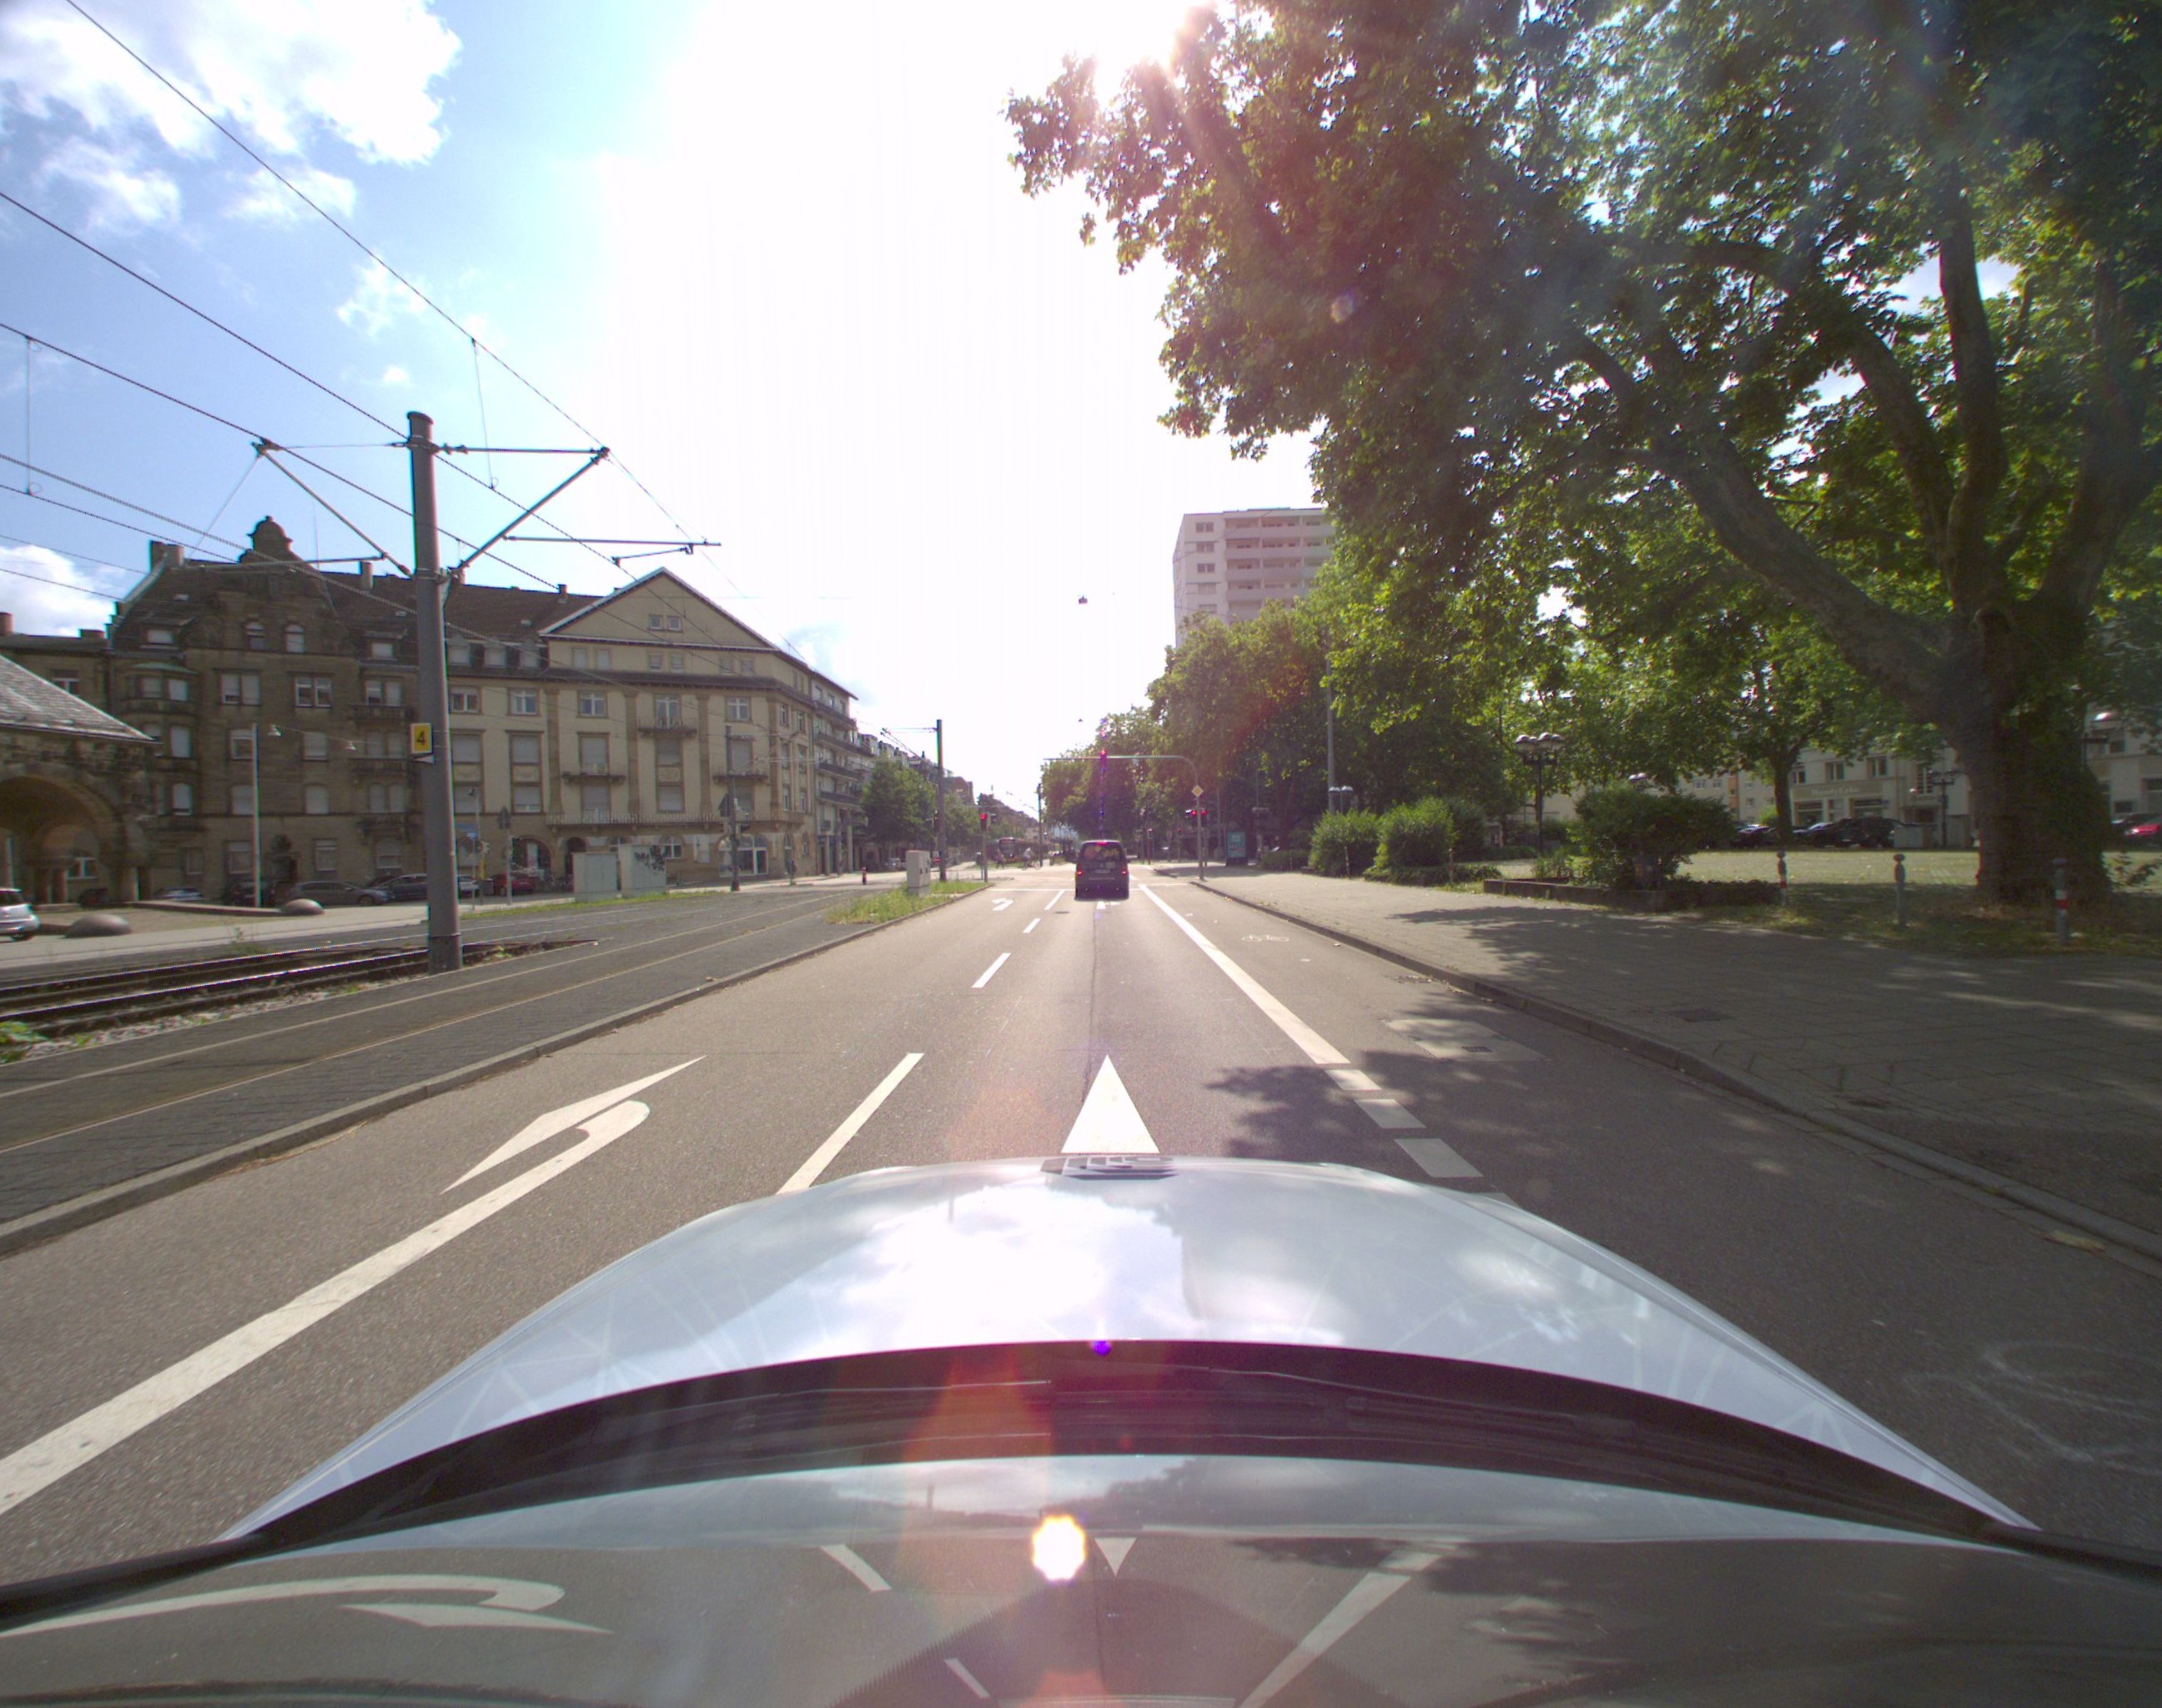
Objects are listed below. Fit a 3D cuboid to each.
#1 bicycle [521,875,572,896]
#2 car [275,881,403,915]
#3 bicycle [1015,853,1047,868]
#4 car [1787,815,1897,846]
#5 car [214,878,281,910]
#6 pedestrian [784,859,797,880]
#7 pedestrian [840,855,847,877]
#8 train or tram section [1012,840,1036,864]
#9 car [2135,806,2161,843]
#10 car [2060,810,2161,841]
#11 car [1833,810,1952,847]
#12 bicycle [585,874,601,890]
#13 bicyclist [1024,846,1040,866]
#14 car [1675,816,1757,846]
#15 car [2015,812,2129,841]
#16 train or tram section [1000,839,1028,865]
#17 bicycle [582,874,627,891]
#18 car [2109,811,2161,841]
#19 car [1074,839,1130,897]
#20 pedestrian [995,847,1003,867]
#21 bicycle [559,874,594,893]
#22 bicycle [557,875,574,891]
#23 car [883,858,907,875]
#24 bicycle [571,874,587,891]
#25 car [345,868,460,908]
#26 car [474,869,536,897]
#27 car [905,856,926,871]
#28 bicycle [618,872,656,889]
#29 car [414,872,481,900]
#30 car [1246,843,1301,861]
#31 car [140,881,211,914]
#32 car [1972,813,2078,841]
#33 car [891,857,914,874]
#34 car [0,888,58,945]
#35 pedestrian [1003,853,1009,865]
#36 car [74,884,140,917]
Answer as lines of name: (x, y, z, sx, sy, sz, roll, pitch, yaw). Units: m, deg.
bicycle: (-36.195, 2.137, 55.155, 3.283, 1.253, 1.003, -2, 0, 17)
car: (-38.853, 2.299, 42.786, 4.575, 1.436, 1.694, -2, 0, -23)
bicycle: (-3.939, 0.524, 63.993, 2.288, 1.048, 0.899, -2, 0, 8)
car: (47.236, -1.419, 50.650, 4.661, 1.706, 2.193, -2, 0, 3)
car: (-49.938, 2.410, 48.786, 3.948, 1.759, 1.899, -2, 0, 31)
pedestrian: (-23.541, 1.262, 65.977, 0.690, 1.595, 0.861, -2, 0, -3)
pedestrian: (-22.947, 1.151, 78.589, 0.476, 2.013, 0.419, -2, 0, -4)
train or tram section: (-8.583, -0.384, 124.150, 2.232, 3.331, 14.019, -2, 0, 2)
car: (46.944, -1.304, 33.599, 4.239, 1.521, 1.987, -2, 0, 1)
car: (57.963, -1.572, 45.420, 4.239, 1.521, 1.987, -2, 0, 1)
car: (47.641, -1.496, 47.877, 4.661, 1.929, 2.193, -2, 0, 3)
bicycle: (-34.243, 1.966, 57.158, 0.808, 1.053, 2.543, -2, 0, -28)
bicyclist: (-3.832, 0.170, 63.920, 0.992, 1.511, 0.782, -2, 0, 9)
car: (47.111, -1.702, 60.472, 4.397, 2.013, 2.078, -2, 0, 2)
car: (58.450, -1.615, 48.094, 4.239, 1.521, 1.987, -2, 0, 1)
train or tram section: (-8.993, -0.303, 110.723, 2.232, 3.331, 12.976, -2, 0, 2)
bicycle: (-32.764, 1.940, 55.998, 2.572, 1.053, 0.676, -3, 0, -27)
car: (57.615, -1.544, 42.946, 4.239, 1.521, 1.987, -2, 0, 1)
car: (0.708, 0.419, 27.210, 1.744, 1.808, 3.476, -1, 0, 2)
pedestrian: (-7.744, 0.277, 77.121, 0.657, 1.784, 0.661, -2, 0, 1)
bicycle: (-33.811, 1.962, 54.595, 1.985, 1.114, 0.482, -3, 0, -36)
bicycle: (-35.927, 1.998, 56.790, 0.744, 1.053, 2.343, -2, 0, -28)
car: (-23.571, 1.531, 103.260, 1.986, 2.013, 4.001, -2, 0, 1)
bicycle: (-34.995, 1.980, 56.812, 0.744, 1.053, 2.543, -2, 0, -28)
car: (-40.304, 1.988, 48.510, 4.813, 2.013, 1.984, -3, 0, -25)
car: (-38.256, 1.931, 54.106, 3.948, 1.674, 2.013, -2, 0, 34)
car: (-23.639, 1.312, 116.686, 1.986, 2.013, 4.001, -2, 0, 1)
bicycle: (-31.775, 1.908, 58.306, 0.798, 1.053, 2.576, -2, 0, 13)
car: (-41.257, 2.062, 53.065, 3.950, 1.639, 1.813, -2, 0, 25)
car: (16.854, -0.151, 71.285, 4.500, 1.390, 1.694, -2, 0, -23)
car: (-52.847, 2.520, 47.530, 3.948, 1.737, 2.013, -2, 0, 31)
car: (58.897, -1.644, 50.849, 4.239, 1.521, 1.987, -2, 0, 1)
car: (-23.658, 1.516, 108.176, 1.986, 2.013, 4.001, -2, 0, 1)
car: (-31.547, 1.822, 22.839, 3.255, 1.502, 1.854, -2, 0, -1)
pedestrian: (-7.146, 0.483, 77.680, 0.462, 1.144, 0.435, -2, 0, 1)
car: (-55.416, 2.646, 46.333, 3.948, 1.727, 1.800, -2, 0, 31)
